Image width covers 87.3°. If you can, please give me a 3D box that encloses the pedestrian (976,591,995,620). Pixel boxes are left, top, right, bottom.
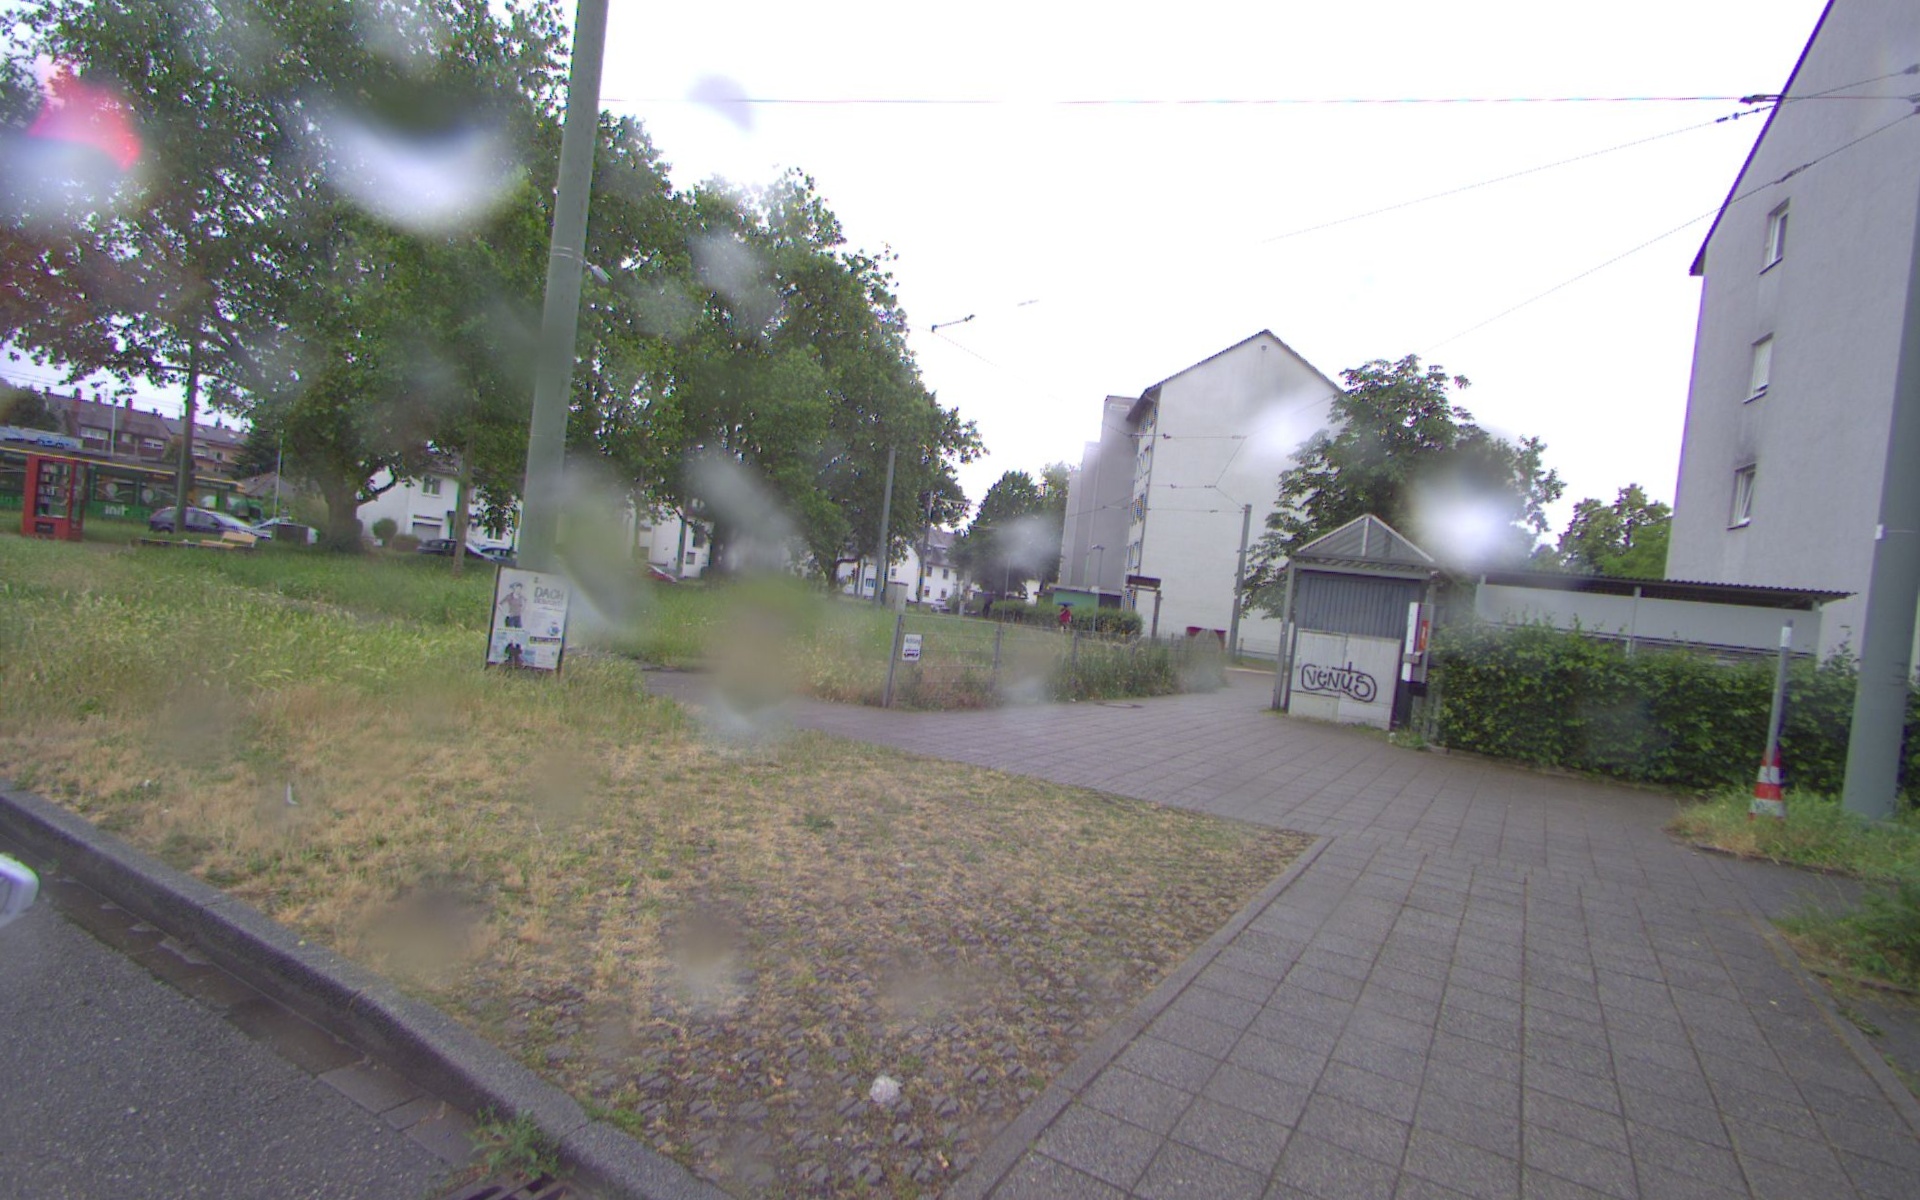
[{"bbox_3d":[1.711,0.379,66.969,1.022,1.811,0.818,7,-1,-3],"label":"pedestrian"}]

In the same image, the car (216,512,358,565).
[{"bbox_3d":[-25.160,-2.273,37.704,1.819,1.300,3.987,6,-3,39],"label":"car"}]

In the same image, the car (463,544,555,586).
[{"bbox_3d":[-22.812,-1.741,51.056,3.855,1.513,1.806,8,-2,-15],"label":"car"}]

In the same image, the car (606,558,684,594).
[{"bbox_3d":[-18.627,-1.413,59.583,3.842,1.513,1.812,7,-2,3],"label":"car"}]

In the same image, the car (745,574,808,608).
[{"bbox_3d":[-12.740,-0.629,70.096,3.843,1.785,1.811,7,-2,0],"label":"car"}]

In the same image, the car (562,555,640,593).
[{"bbox_3d":[-20.110,-1.438,56.526,3.855,1.513,1.806,8,-2,-15],"label":"car"}]

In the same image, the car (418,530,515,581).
[{"bbox_3d":[-23.728,-2.117,48.523,3.710,1.819,1.806,8,-2,-15],"label":"car"}]

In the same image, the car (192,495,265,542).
[{"bbox_3d":[-46.737,-5.185,64.259,4.280,2.471,1.998,6,-2,31],"label":"car"}]

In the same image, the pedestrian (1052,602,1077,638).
[{"bbox_3d":[5.155,1.001,49.652,0.878,1.674,0.816,7,-1,-10],"label":"pedestrian"}]

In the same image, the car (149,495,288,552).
[{"bbox_3d":[-29.175,-2.971,39.715,3.855,1.513,1.806,8,-2,-15],"label":"car"}]

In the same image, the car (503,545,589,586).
[{"bbox_3d":[-21.977,-1.806,53.492,3.855,1.513,1.806,8,-2,-15],"label":"car"}]

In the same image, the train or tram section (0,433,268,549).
[{"bbox_3d":[-39.767,-5.053,46.402,2.720,3.595,13.127,7,-1,25],"label":"train or tram section"}]
